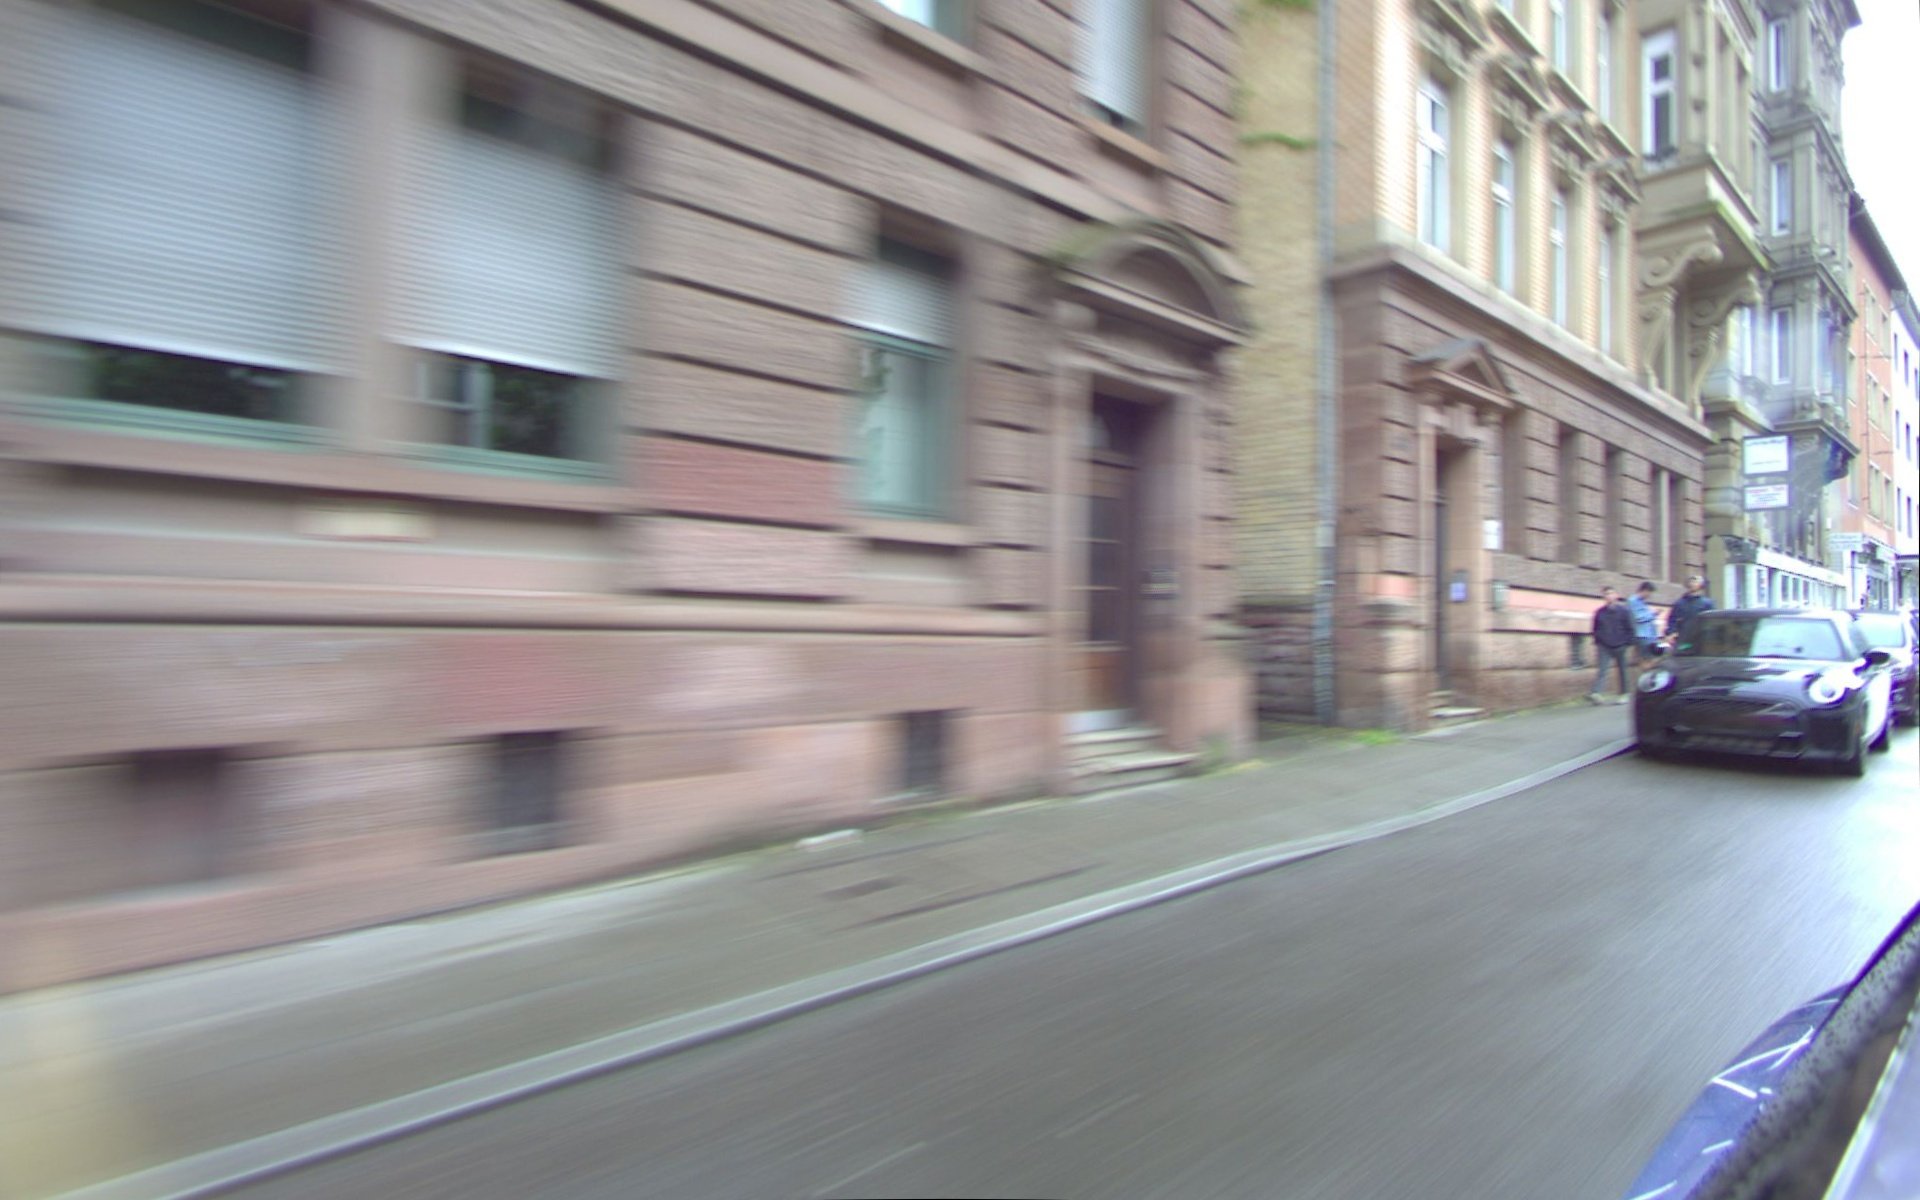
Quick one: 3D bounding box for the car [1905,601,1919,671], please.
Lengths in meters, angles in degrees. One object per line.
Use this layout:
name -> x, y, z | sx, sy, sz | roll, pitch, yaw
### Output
car -> 21.020, 0.711, 21.144 | 3.911, 1.368, 1.586 | -1, 0, -43

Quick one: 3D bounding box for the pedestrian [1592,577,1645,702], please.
pedestrian -> 9.052, 0.526, 13.908 | 0.621, 1.666, 0.487 | 0, 0, -45

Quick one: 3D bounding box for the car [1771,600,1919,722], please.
car -> 12.478, 0.734, 13.871 | 3.765, 1.431, 1.586 | -1, 0, -43

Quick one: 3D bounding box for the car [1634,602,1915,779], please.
car -> 8.098, 0.725, 9.946 | 3.765, 1.368, 1.625 | -1, 0, -43

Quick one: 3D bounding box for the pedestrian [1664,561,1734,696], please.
pedestrian -> 10.192, 0.376, 13.959 | 0.868, 1.784, 0.652 | 0, 0, -45

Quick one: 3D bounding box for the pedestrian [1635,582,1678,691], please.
pedestrian -> 10.913, 0.559, 15.858 | 0.456, 1.666, 0.484 | 0, 0, -45
